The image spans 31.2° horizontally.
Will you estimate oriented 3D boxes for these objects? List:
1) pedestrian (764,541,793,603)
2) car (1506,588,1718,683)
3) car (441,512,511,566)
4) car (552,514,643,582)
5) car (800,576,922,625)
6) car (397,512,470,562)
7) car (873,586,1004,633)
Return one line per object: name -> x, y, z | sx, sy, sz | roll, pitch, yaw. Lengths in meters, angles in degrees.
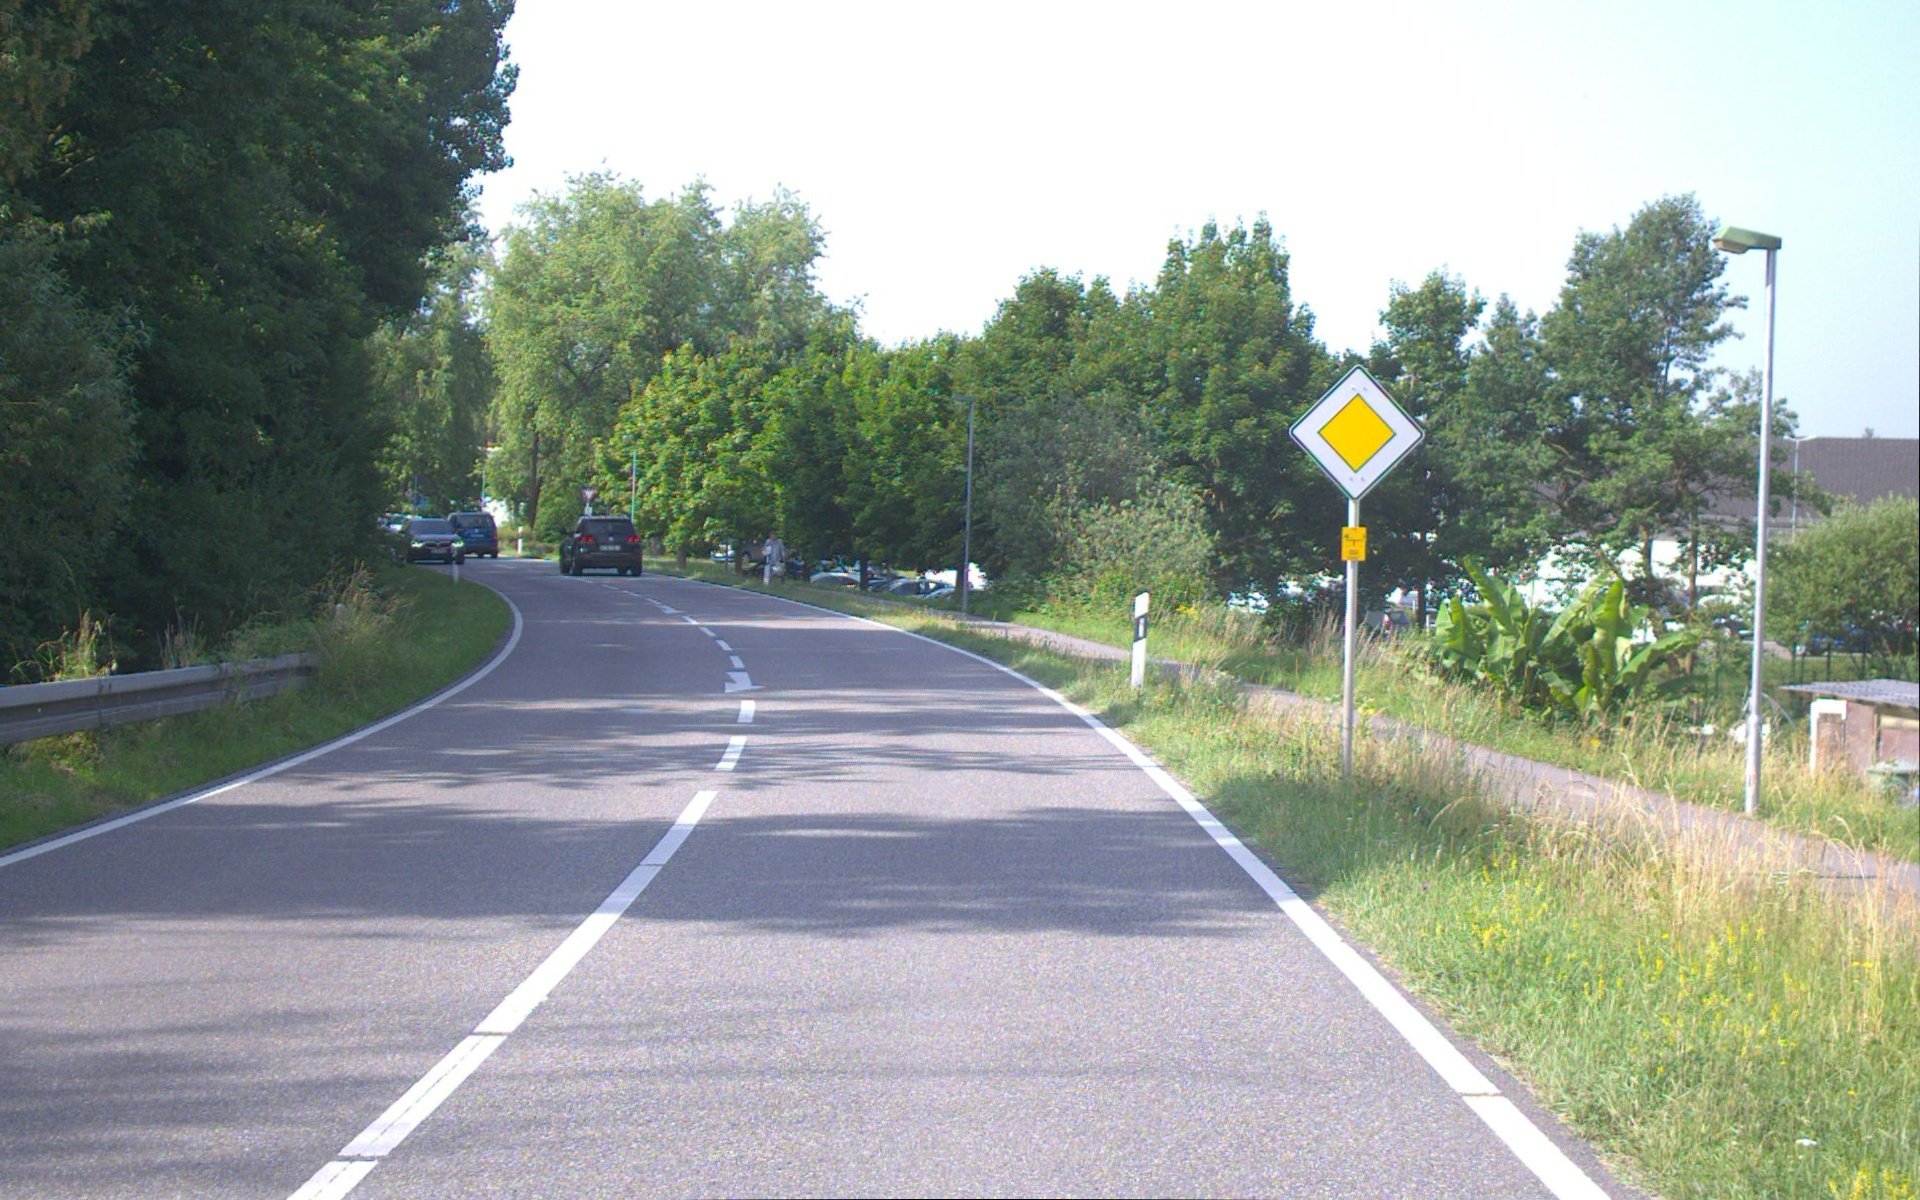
pedestrian -> -5.250, -0.808, 99.556 | 0.754, 1.769, 0.973 | 2, 0, -1
car -> 19.768, 1.042, 104.290 | 5.778, 2.658, 2.402 | 2, 1, 36
car -> -17.384, -2.213, 123.396 | 2.003, 1.765, 4.002 | 2, 2, -15
car -> -10.230, -1.477, 96.912 | 1.924, 1.765, 4.002 | 2, 2, -14
car -> -3.713, 0.012, 128.573 | 4.233, 1.674, 1.891 | 2, 1, -11
car -> -17.072, -2.043, 111.354 | 1.750, 1.469, 4.002 | 2, 2, -16
car -> -0.746, 0.328, 117.650 | 4.261, 1.466, 1.844 | 2, 1, -8
